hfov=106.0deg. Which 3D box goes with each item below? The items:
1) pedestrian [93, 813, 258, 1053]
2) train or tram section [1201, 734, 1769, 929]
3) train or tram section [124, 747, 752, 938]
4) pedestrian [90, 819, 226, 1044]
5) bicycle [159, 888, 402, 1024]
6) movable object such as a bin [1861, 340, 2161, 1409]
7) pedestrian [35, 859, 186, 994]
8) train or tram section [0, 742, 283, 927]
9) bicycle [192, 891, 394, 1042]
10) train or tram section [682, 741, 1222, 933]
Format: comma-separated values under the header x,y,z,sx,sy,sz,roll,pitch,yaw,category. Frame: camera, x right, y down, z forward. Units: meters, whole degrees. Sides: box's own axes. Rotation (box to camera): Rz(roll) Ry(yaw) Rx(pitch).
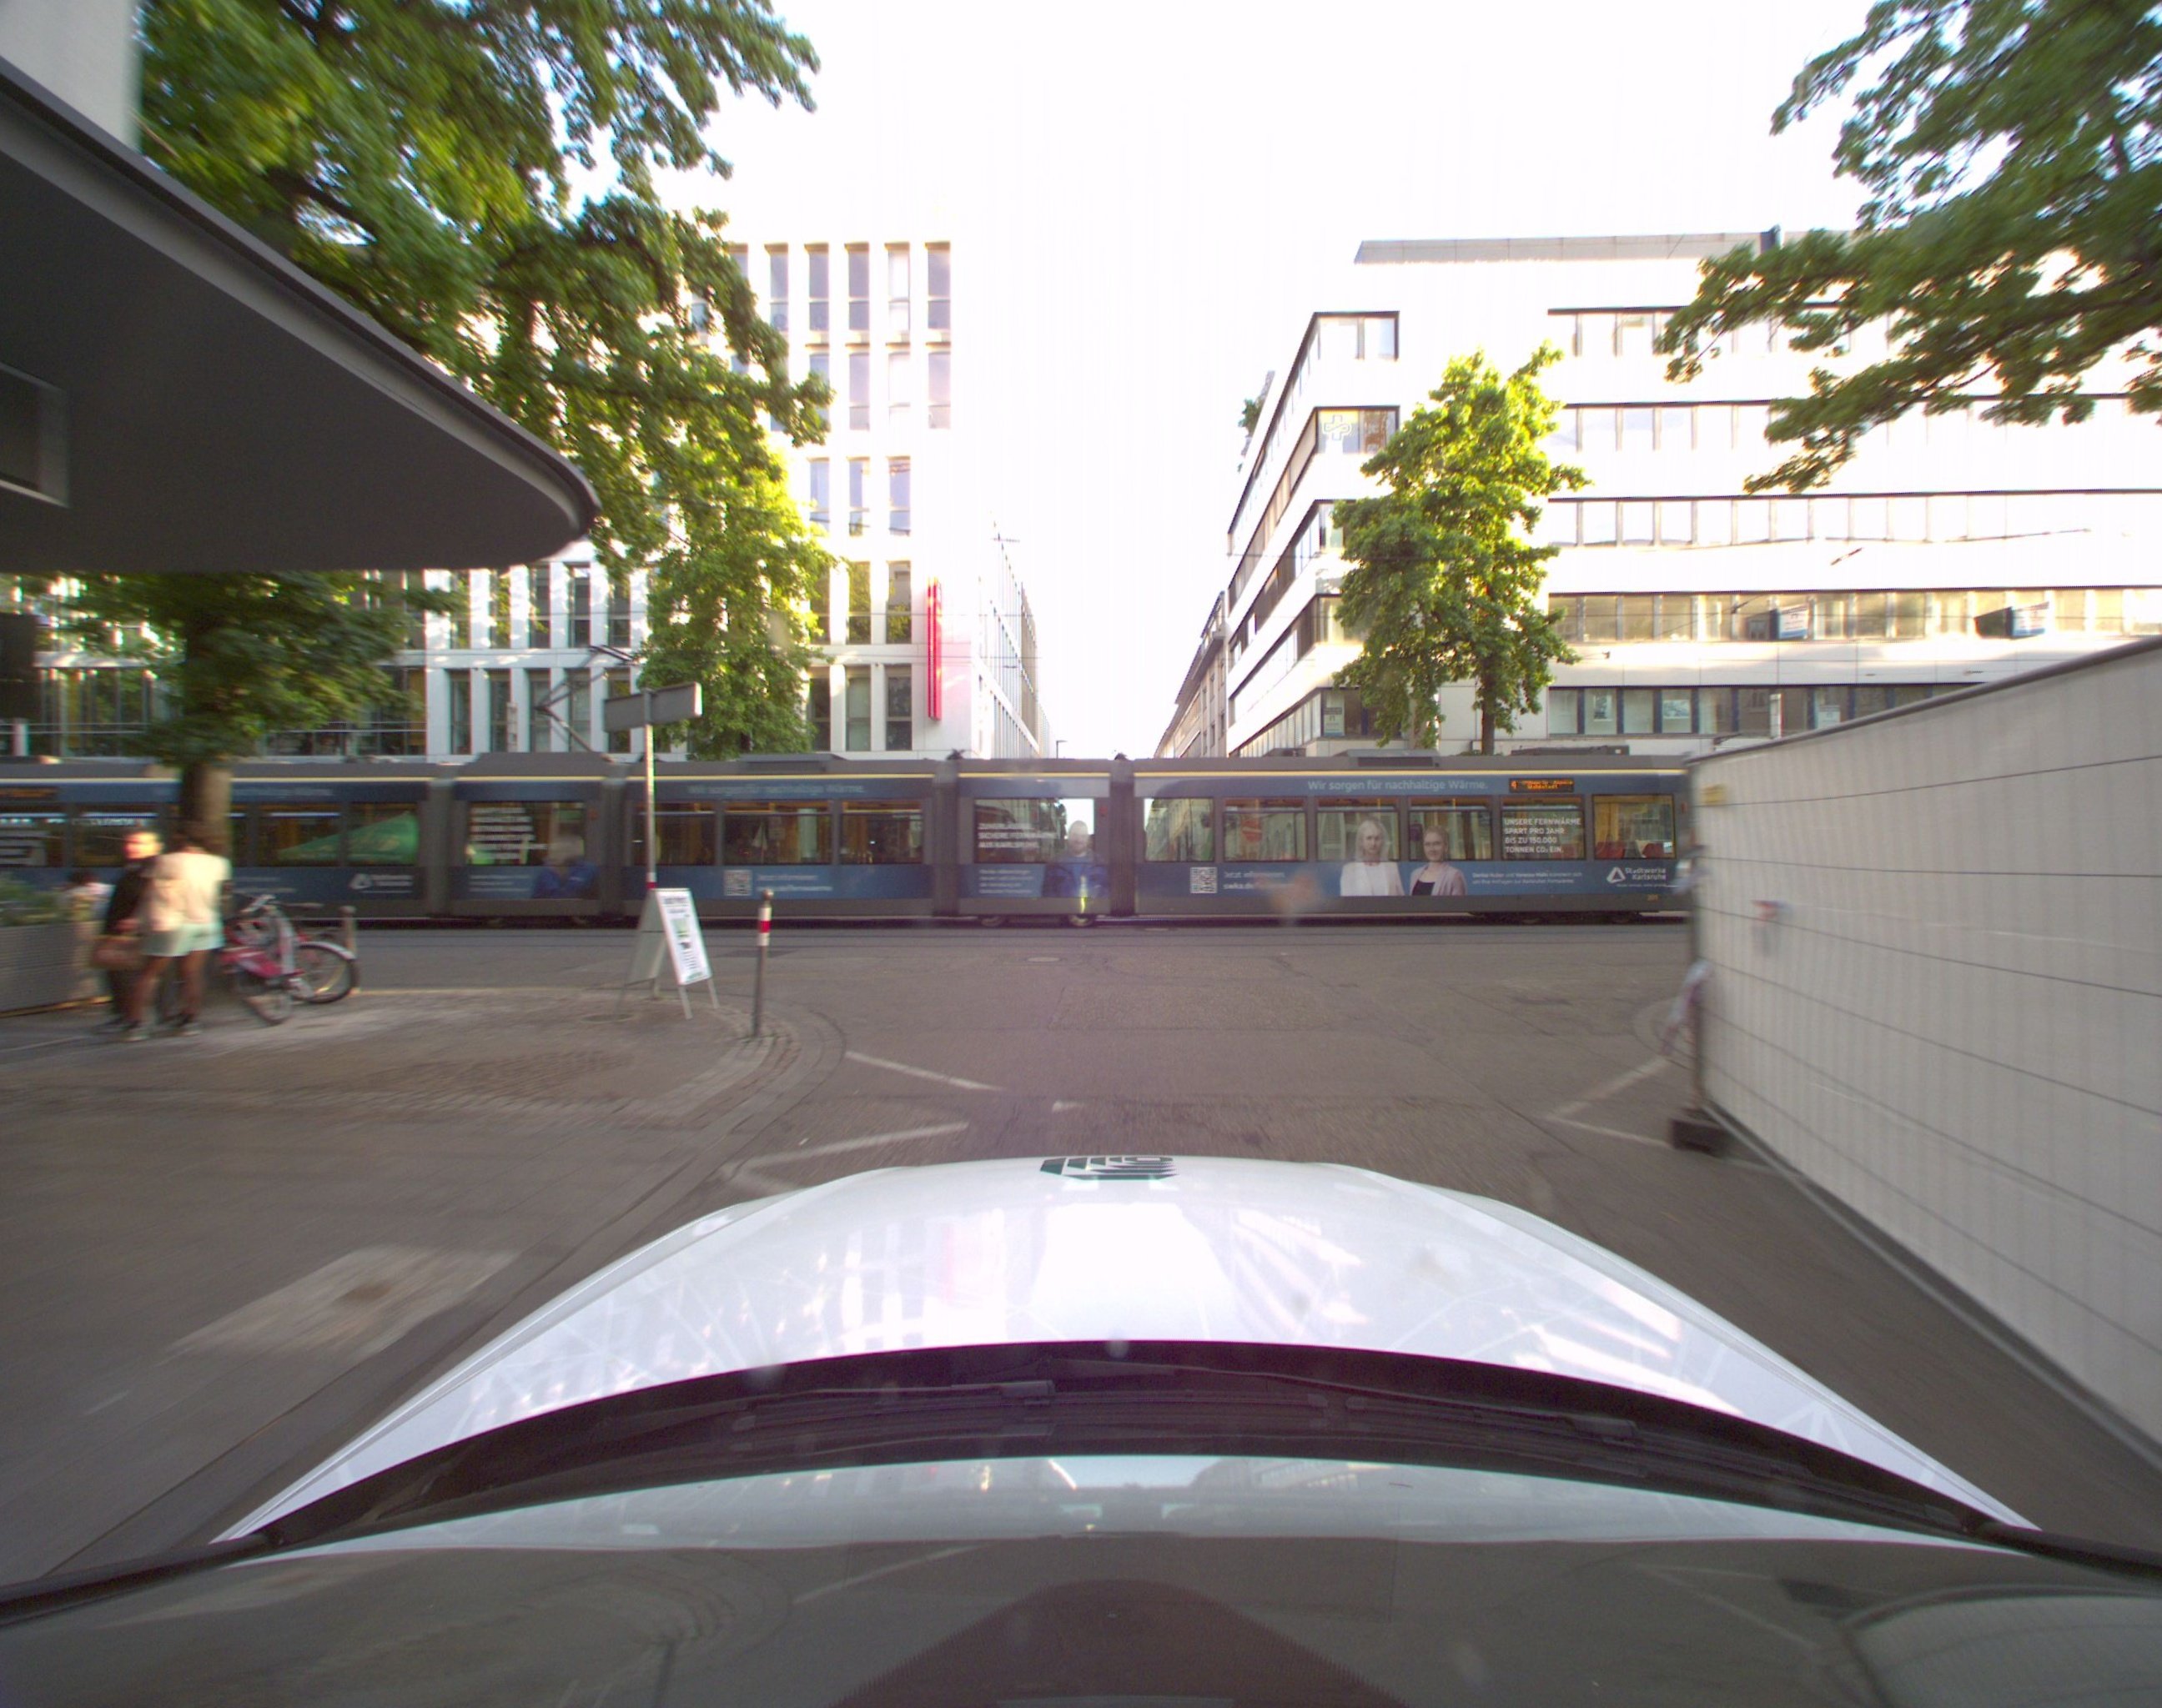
x,y,z,sx,sy,sz,roll,pitch,yaw,category
-7.080,0.573,6.411,0.643,1.741,0.774,-1,-1,-29,pedestrian
7.860,-0.417,16.970,10.299,3.523,3.027,-1,0,1,train or tram section
-12.996,-0.225,17.190,10.773,3.524,3.013,-1,0,0,train or tram section
-7.675,0.604,6.807,0.645,1.741,0.772,-1,-1,-41,pedestrian
-7.966,0.953,8.247,0.623,1.139,1.866,-1,-1,-1,bicycle
4.222,0.058,0.240,2.627,2.872,5.564,-1,0,0,movable object such as a bin
-10.337,0.748,8.704,0.786,1.377,0.696,-1,-1,3,pedestrian
-23.612,-0.294,17.174,10.461,3.524,3.054,-1,-1,0,train or tram section
-7.116,0.939,7.480,0.782,1.139,1.850,-1,-1,-26,bicycle
-2.458,-0.299,17.122,10.330,3.524,3.018,-1,-1,1,train or tram section
